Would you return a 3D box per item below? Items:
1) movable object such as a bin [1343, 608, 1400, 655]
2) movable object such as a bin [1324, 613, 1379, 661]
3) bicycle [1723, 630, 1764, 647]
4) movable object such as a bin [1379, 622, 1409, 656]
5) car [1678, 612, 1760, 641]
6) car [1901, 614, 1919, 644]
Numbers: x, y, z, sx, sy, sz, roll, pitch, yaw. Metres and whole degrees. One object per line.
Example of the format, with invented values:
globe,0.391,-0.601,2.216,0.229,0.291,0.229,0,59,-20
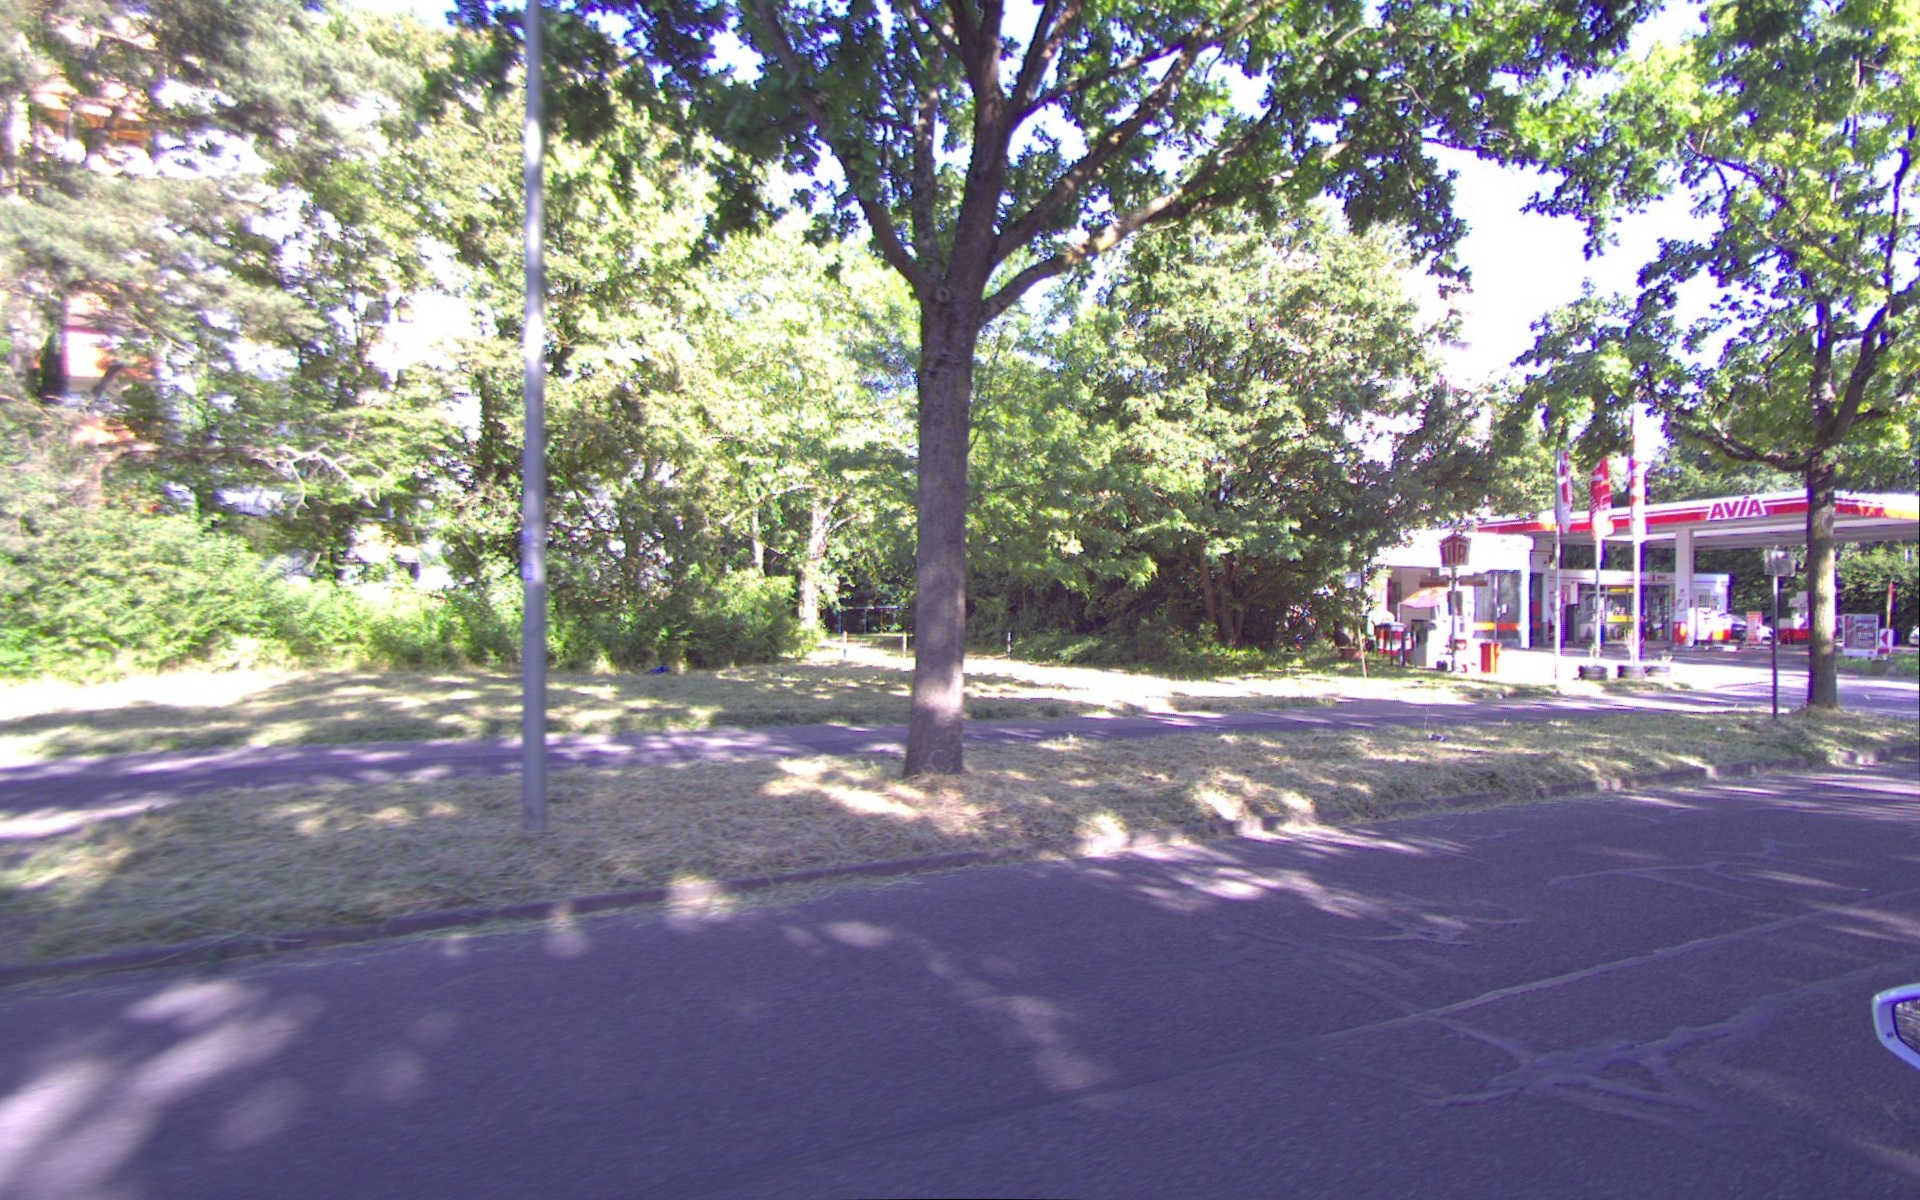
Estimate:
movable object such as a bin,13.859,1.042,33.842,1.251,1.562,1.299,1,-1,-27
movable object such as a bin,13.415,1.246,34.437,1.149,1.562,1.299,1,1,-27
bicycle,38.068,1.881,48.828,1.749,0.818,0.618,1,0,-13
movable object such as a bin,14.221,1.274,32.913,0.758,1.100,0.566,1,-1,-27
car,40.740,1.396,53.968,1.561,1.419,3.190,1,1,-20
car,46.701,1.404,47.872,3.156,1.386,1.420,1,1,-20
